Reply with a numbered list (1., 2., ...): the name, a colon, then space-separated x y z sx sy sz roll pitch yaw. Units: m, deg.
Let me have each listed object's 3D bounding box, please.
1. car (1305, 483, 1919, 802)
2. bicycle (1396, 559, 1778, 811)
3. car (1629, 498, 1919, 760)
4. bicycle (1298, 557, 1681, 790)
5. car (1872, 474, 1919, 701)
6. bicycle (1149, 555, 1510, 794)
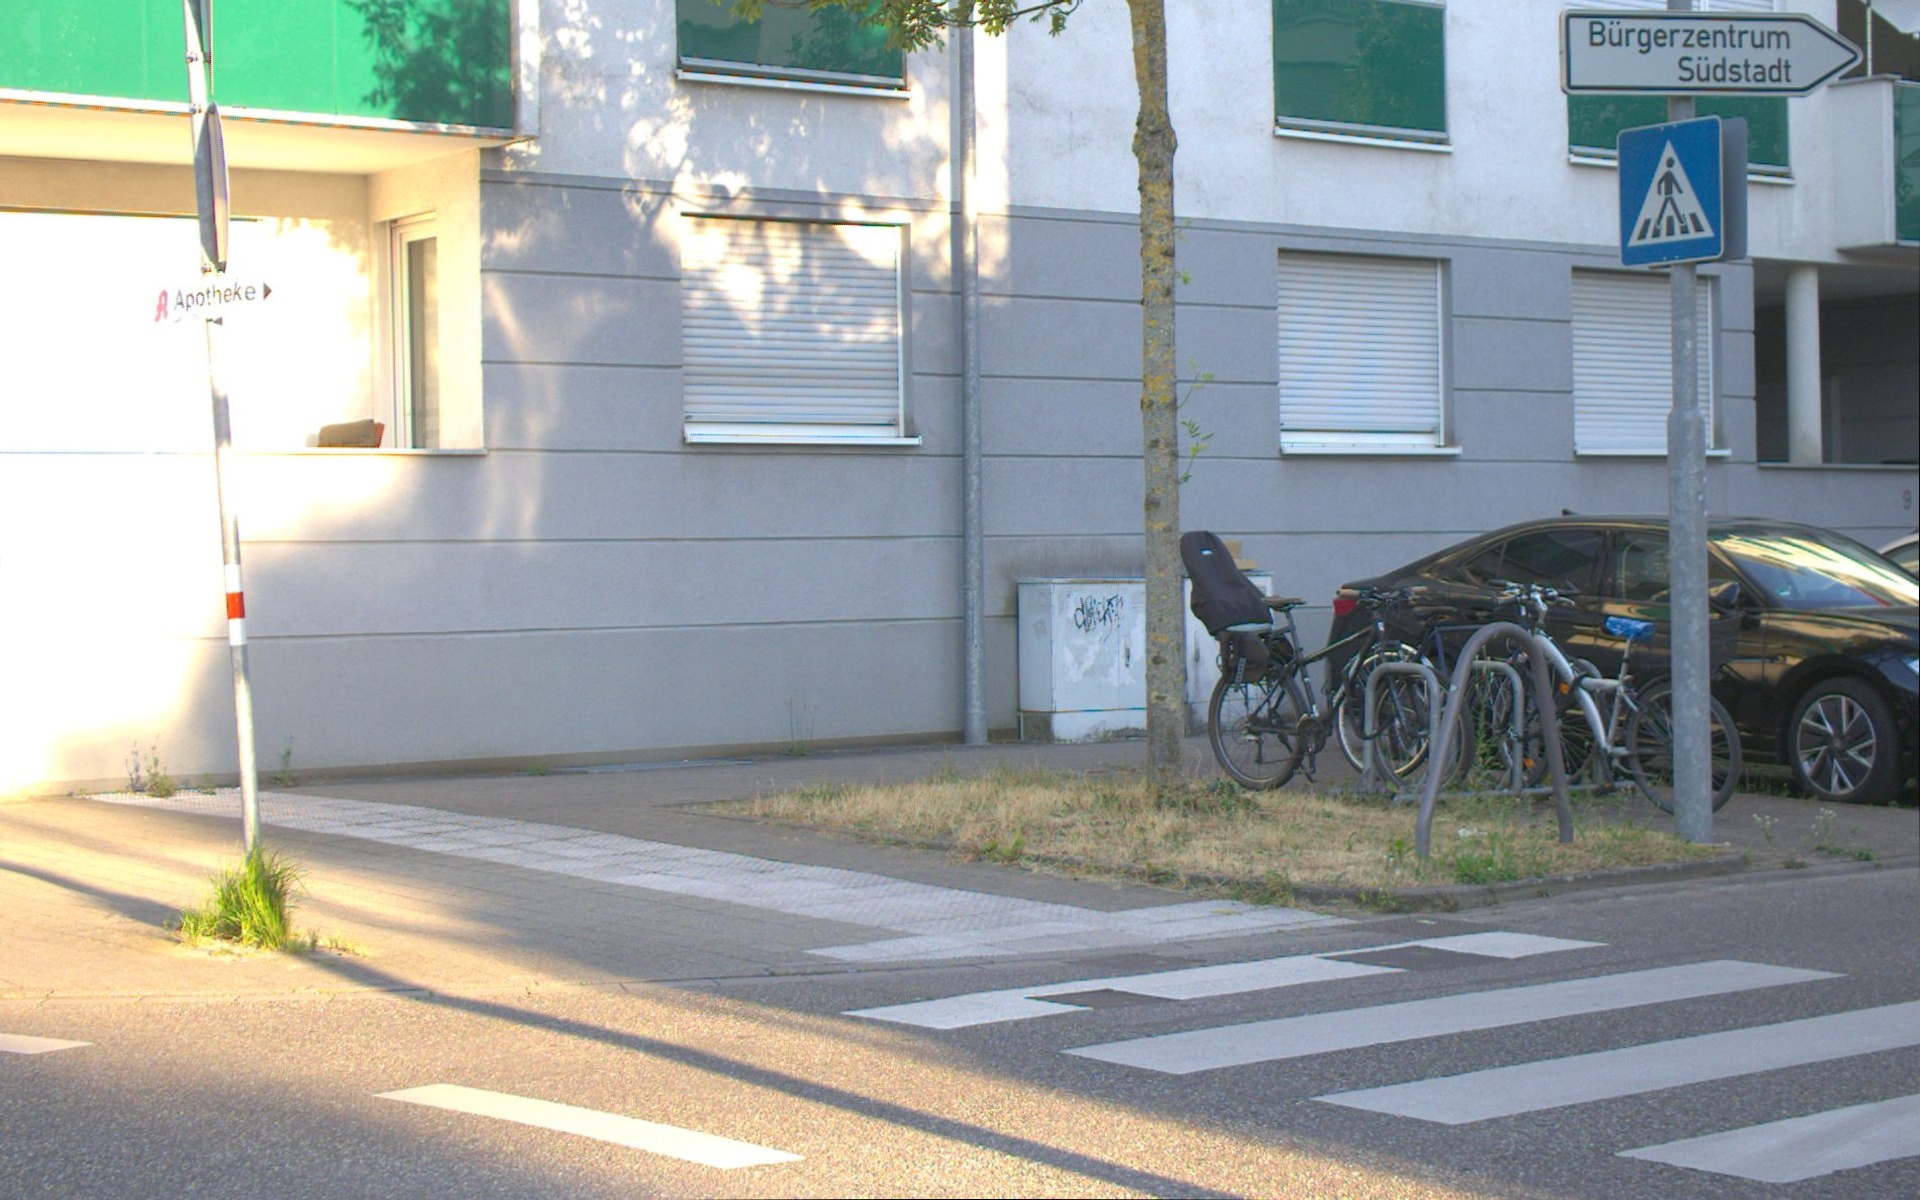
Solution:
1. car: 4.271 0.144 18.756 1.932 1.452 4.890 -1 3 -37
2. bicycle: 2.944 0.372 16.296 0.472 1.068 1.839 -1 3 -43
3. car: 6.190 0.154 20.252 1.737 1.503 4.415 -1 0 -36
4. bicycle: 2.642 0.343 17.377 0.472 1.042 2.034 -1 3 -43
5. car: 8.153 -0.007 21.875 1.737 1.488 4.296 -1 4 -39
6. bicycle: 1.772 0.334 16.718 0.565 1.038 1.793 -1 3 -43
